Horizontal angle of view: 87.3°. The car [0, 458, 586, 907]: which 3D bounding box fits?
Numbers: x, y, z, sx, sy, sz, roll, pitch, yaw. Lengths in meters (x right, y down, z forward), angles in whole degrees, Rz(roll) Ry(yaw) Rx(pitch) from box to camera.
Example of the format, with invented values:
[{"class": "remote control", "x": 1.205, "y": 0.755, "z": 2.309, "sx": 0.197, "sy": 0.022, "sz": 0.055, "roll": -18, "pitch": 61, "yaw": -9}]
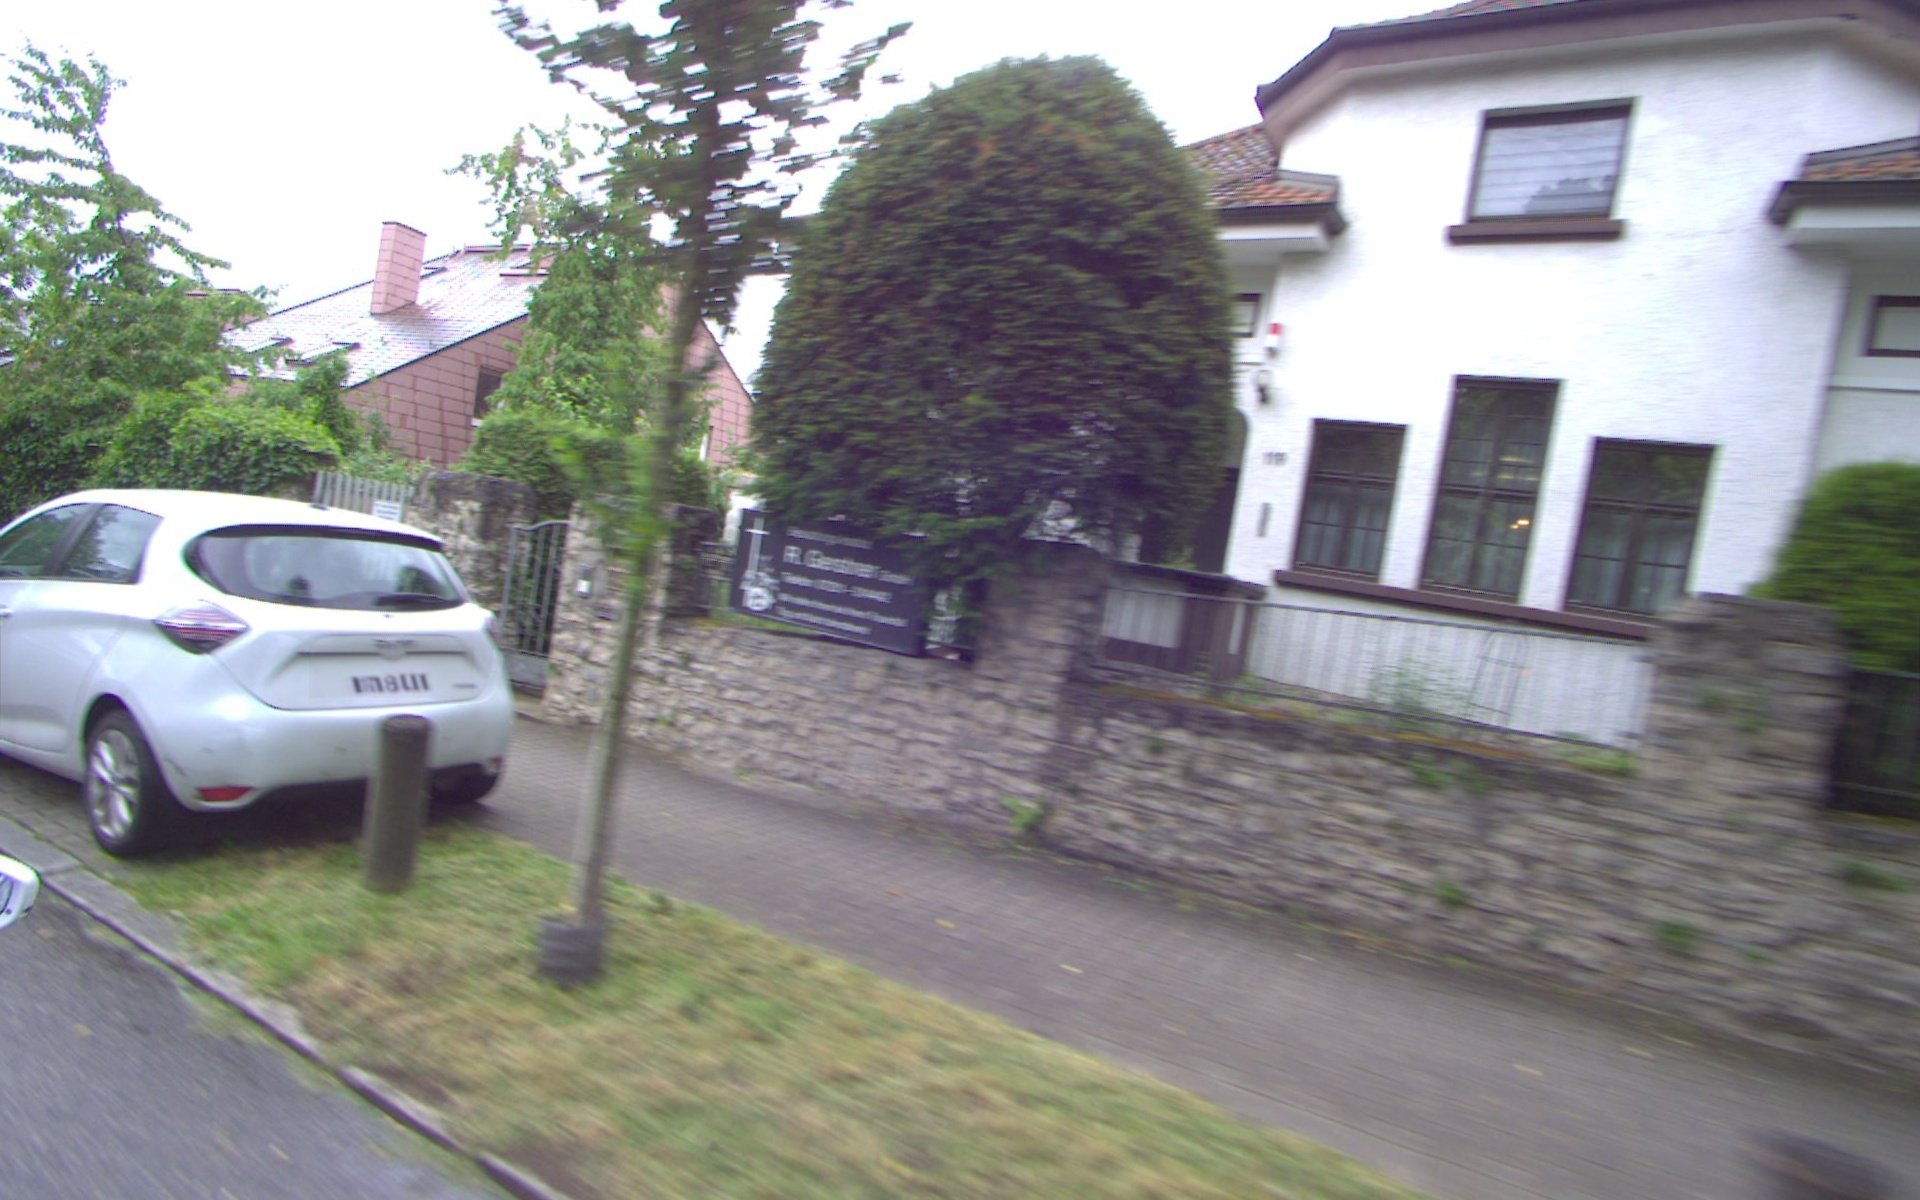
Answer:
[{"class": "car", "x": -4.204, "y": 0.181, "z": 5.559, "sx": 3.932, "sy": 1.651, "sz": 1.826, "roll": 7, "pitch": 2, "yaw": 30}]
